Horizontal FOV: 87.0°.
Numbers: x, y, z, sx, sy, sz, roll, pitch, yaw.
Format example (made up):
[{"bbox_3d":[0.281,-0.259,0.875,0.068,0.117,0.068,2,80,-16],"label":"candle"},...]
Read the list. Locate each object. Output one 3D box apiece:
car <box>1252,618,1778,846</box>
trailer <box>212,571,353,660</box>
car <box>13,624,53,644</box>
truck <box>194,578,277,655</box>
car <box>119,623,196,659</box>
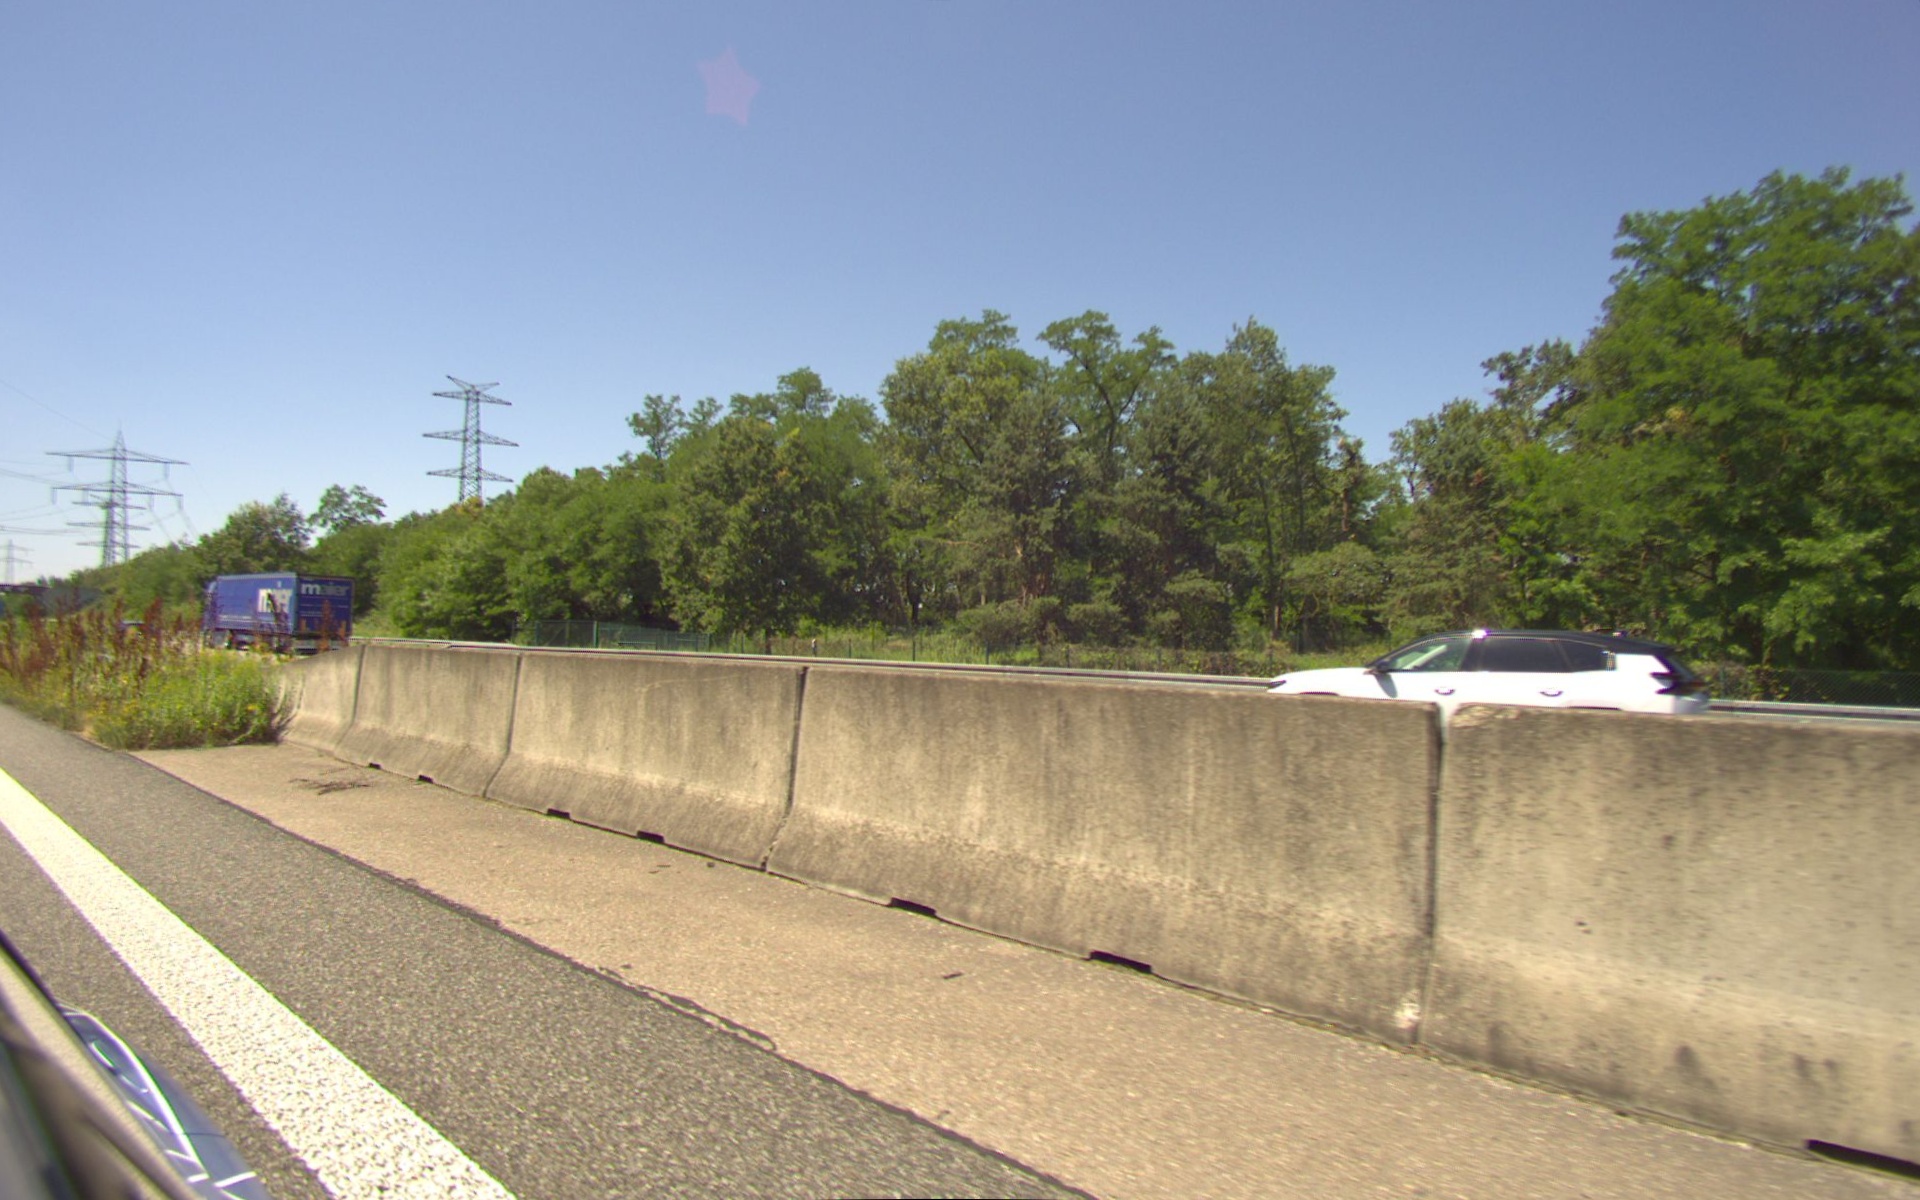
[{"bbox_3d":[6.072,1.266,11.488,4.936,2.029,1.973,-1,-4,41],"label":"car"},{"bbox_3d":[-35.873,0.878,53.246,13.458,4.163,2.446,-1,-4,41],"label":"trailer"},{"bbox_3d":[-71.585,2.624,78.143,3.998,1.460,1.788,-1,-3,41],"label":"car"},{"bbox_3d":[-41.846,0.974,58.417,5.681,4.165,2.441,-1,-4,41],"label":"truck"},{"bbox_3d":[-34.608,1.733,43.605,4.541,1.449,1.735,-1,-4,41],"label":"car"}]
